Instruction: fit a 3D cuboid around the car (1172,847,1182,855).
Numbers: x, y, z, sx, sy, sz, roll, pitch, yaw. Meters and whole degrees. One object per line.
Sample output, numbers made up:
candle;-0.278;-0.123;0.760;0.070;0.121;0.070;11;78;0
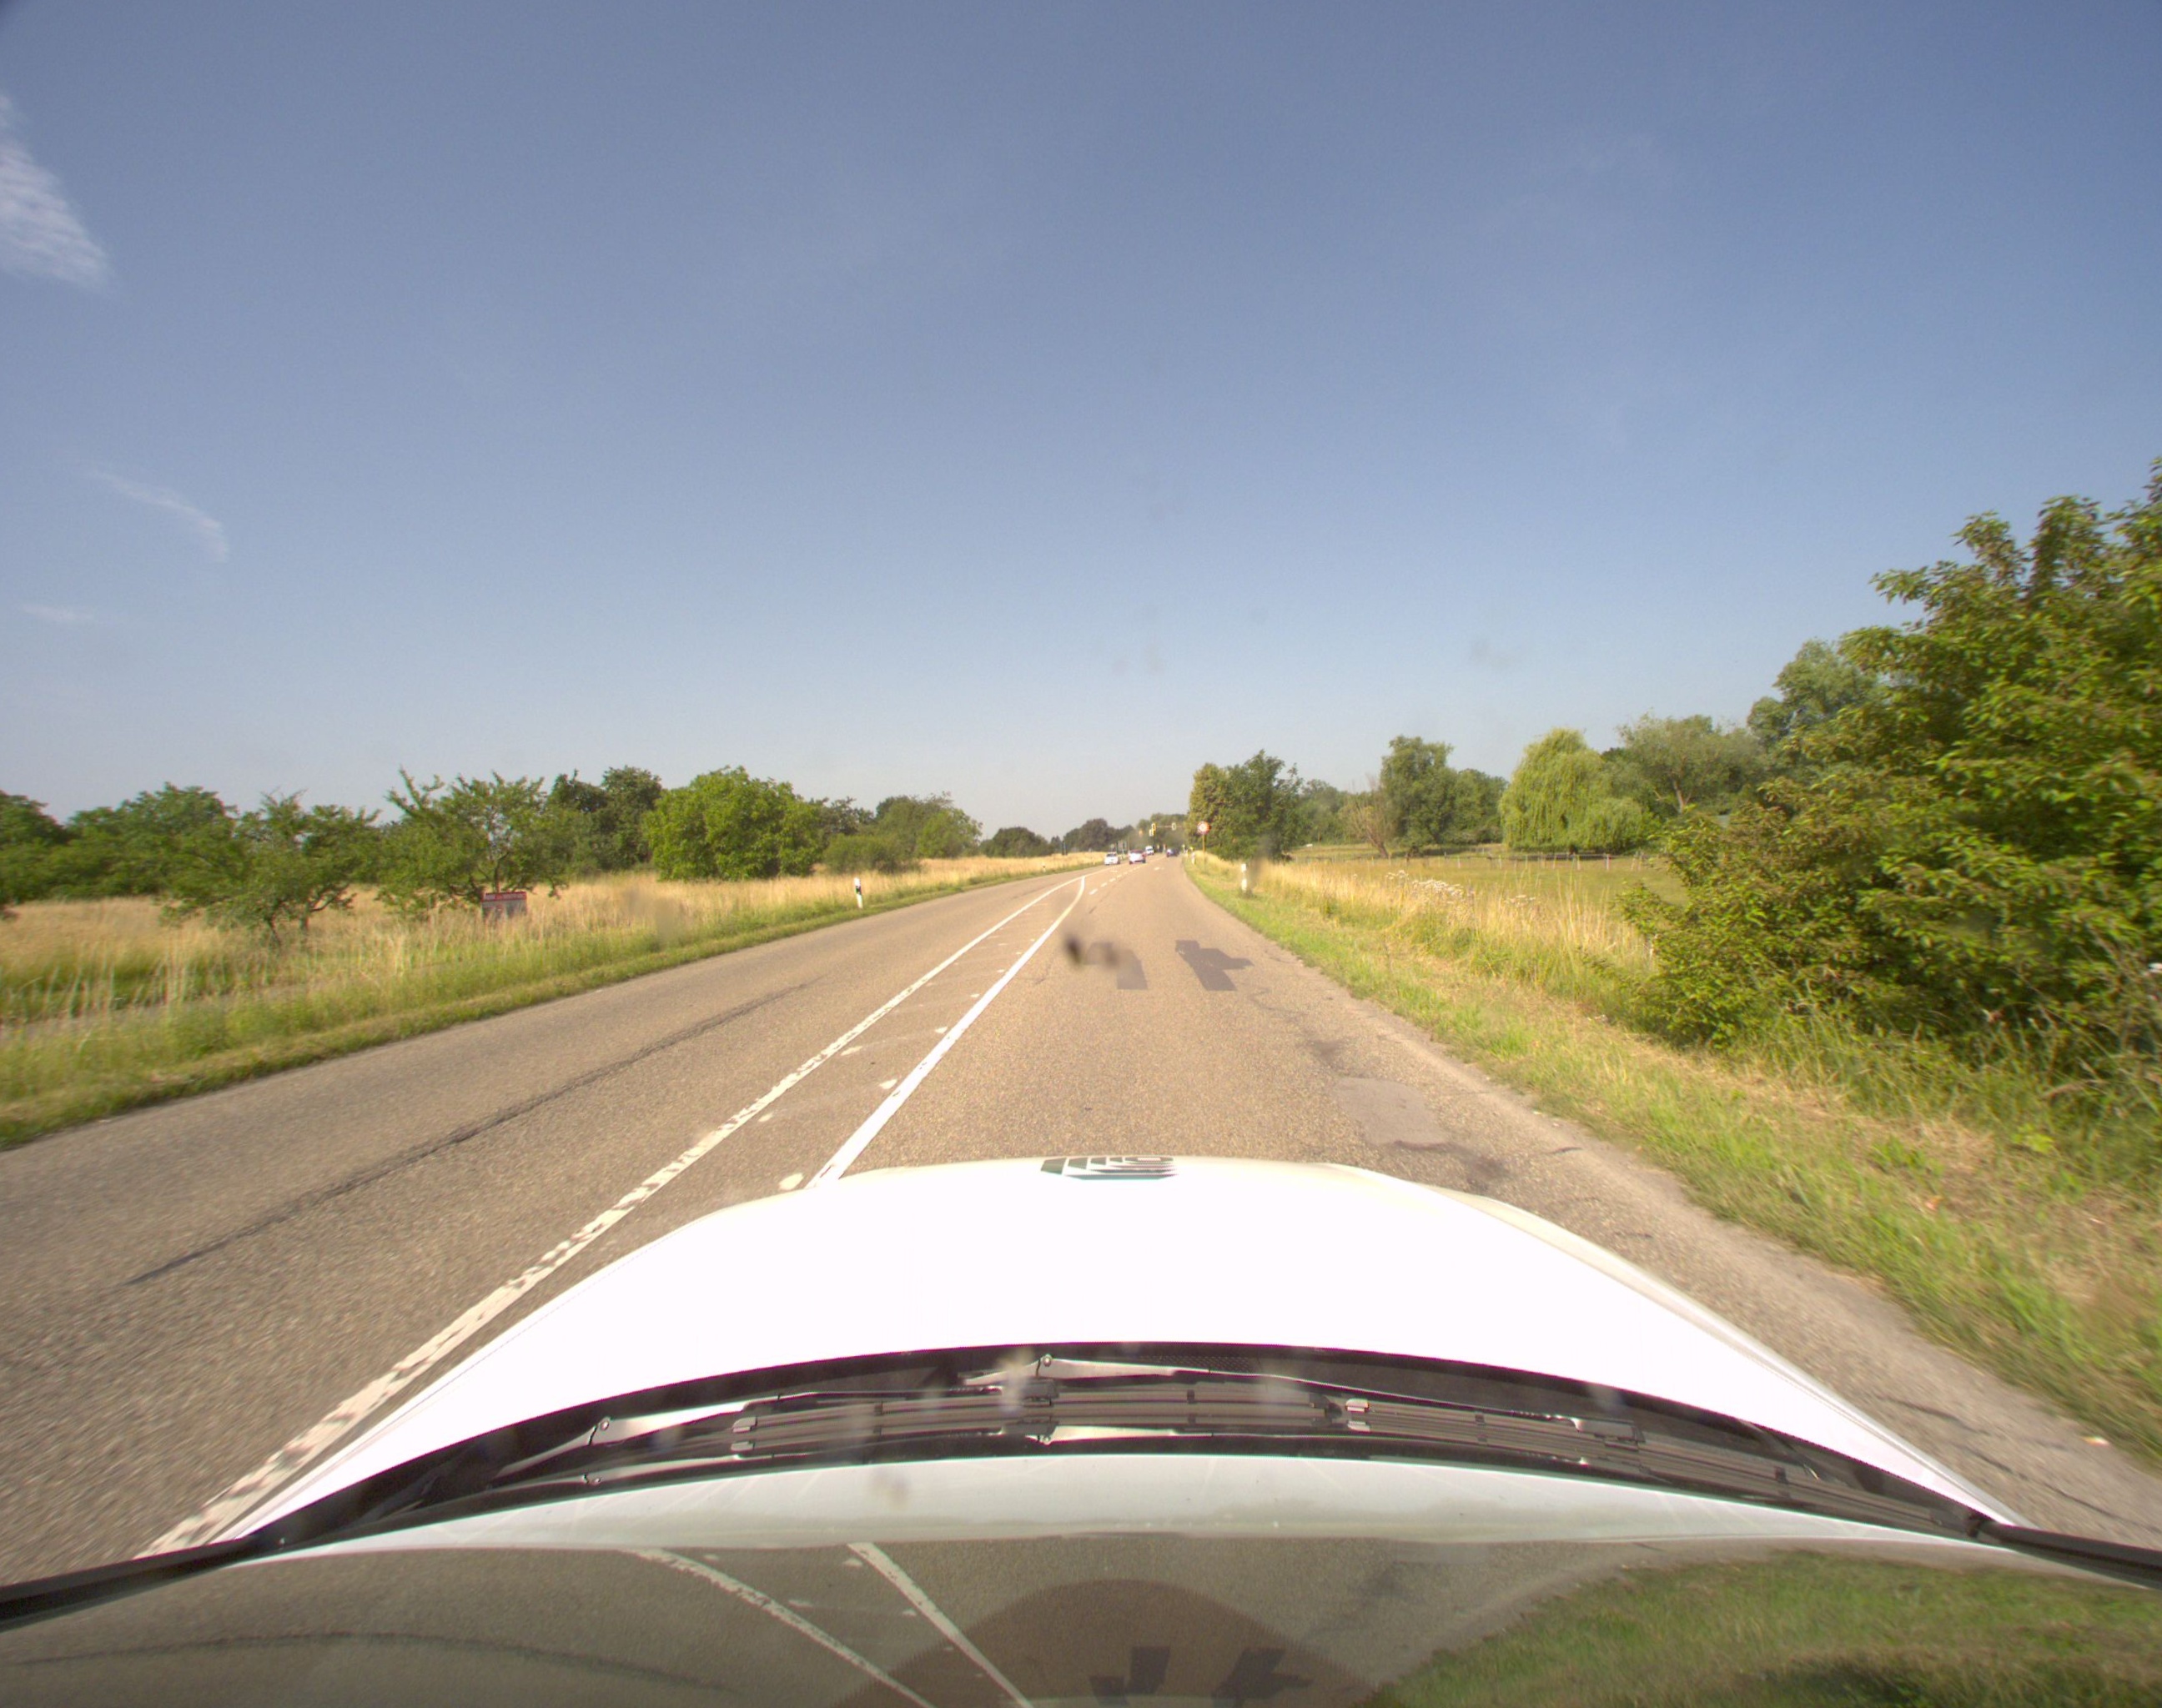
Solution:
car;20.145;-0.604;170.580;1.834;1.552;4.002;0;0;2

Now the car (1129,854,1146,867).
car;6.631;0.771;95.201;1.889;1.512;4.007;0;0;6

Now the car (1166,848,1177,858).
car;15.798;-0.202;142.141;1.806;1.520;4.008;-3;0;7

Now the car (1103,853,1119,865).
car;3.969;0.648;106.111;1.803;1.585;4.231;-1;0;5
